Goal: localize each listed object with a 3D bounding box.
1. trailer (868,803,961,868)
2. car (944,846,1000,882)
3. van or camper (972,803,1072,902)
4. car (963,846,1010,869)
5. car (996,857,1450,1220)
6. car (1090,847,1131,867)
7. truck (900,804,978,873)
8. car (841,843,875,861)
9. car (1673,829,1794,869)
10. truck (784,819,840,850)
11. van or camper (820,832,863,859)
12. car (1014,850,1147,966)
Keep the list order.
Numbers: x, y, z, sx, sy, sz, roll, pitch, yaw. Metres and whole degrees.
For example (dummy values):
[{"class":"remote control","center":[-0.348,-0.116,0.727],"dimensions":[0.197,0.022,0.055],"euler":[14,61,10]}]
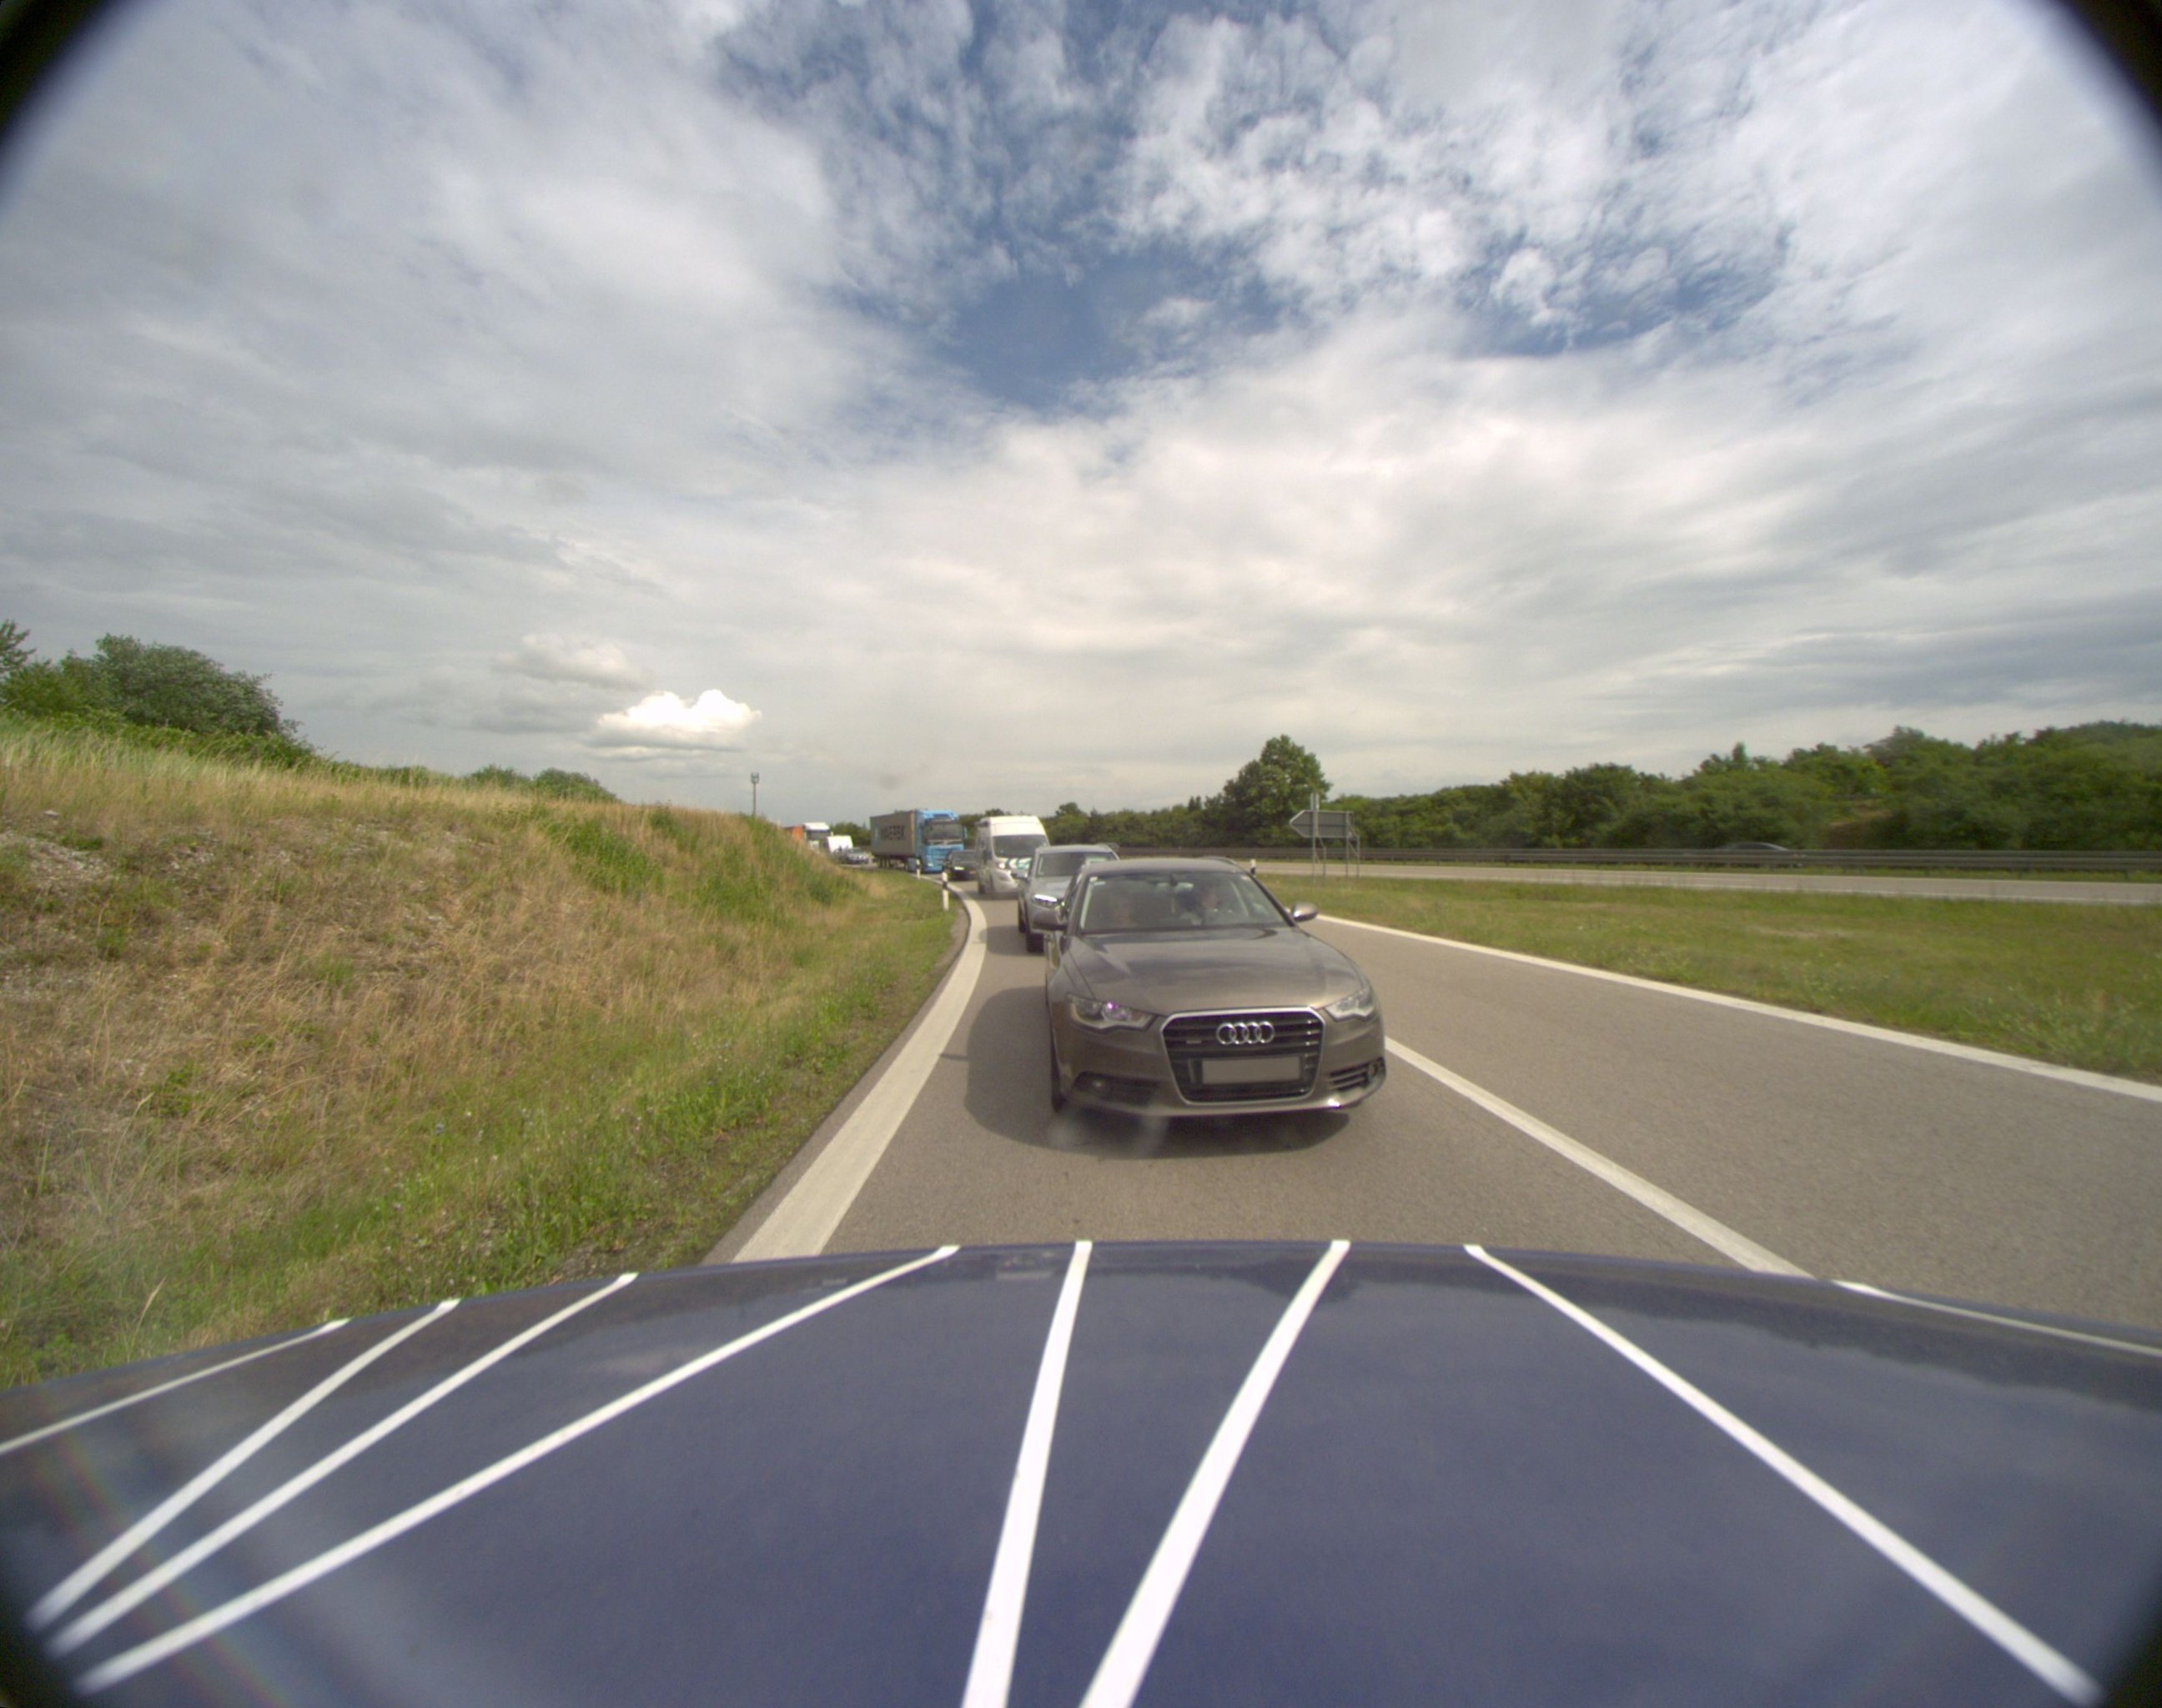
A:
[{"class":"trailer","center":[-12.218,-1.207,54.547],"dimensions":[3.280,4.137,11.990],"euler":[-3,1,-28]},{"class":"car","center":[-5.464,0.436,37.667],"dimensions":[2.002,1.609,3.992],"euler":[-1,2,-19]},{"class":"van or camper","center":[-2.162,-0.071,25.716],"dimensions":[2.400,2.892,5.713],"euler":[-2,1,-13]},{"class":"car","center":[-6.805,0.209,54.159],"dimensions":[2.030,1.568,4.576],"euler":[-1,1,-25]},{"class":"car","center":[0.622,0.838,5.671],"dimensions":[1.999,1.505,4.537],"euler":[-2,1,-1]},{"class":"car","center":[2.865,0.313,74.893],"dimensions":[1.847,1.862,4.196],"euler":[-3,1,-34]},{"class":"truck","center":[-9.183,-0.936,48.561],"dimensions":[3.184,4.049,6.633],"euler":[-3,1,-25]},{"class":"car","center":[-19.696,-0.197,67.155],"dimensions":[2.003,1.521,3.990],"euler":[-2,2,-29]},{"class":"car","center":[32.524,-0.218,37.983],"dimensions":[1.847,1.862,4.196],"euler":[-3,1,-34]},{"class":"truck","center":[-30.011,-2.081,84.353],"dimensions":[3.131,3.220,11.131],"euler":[-2,1,-34]},{"class":"van or camper","center":[-22.865,-0.874,72.300],"dimensions":[2.557,2.200,5.693],"euler":[-3,5,-31]},{"class":"car","center":[-0.178,0.745,12.885],"dimensions":[1.843,1.587,4.171],"euler":[-1,1,-6]}]
